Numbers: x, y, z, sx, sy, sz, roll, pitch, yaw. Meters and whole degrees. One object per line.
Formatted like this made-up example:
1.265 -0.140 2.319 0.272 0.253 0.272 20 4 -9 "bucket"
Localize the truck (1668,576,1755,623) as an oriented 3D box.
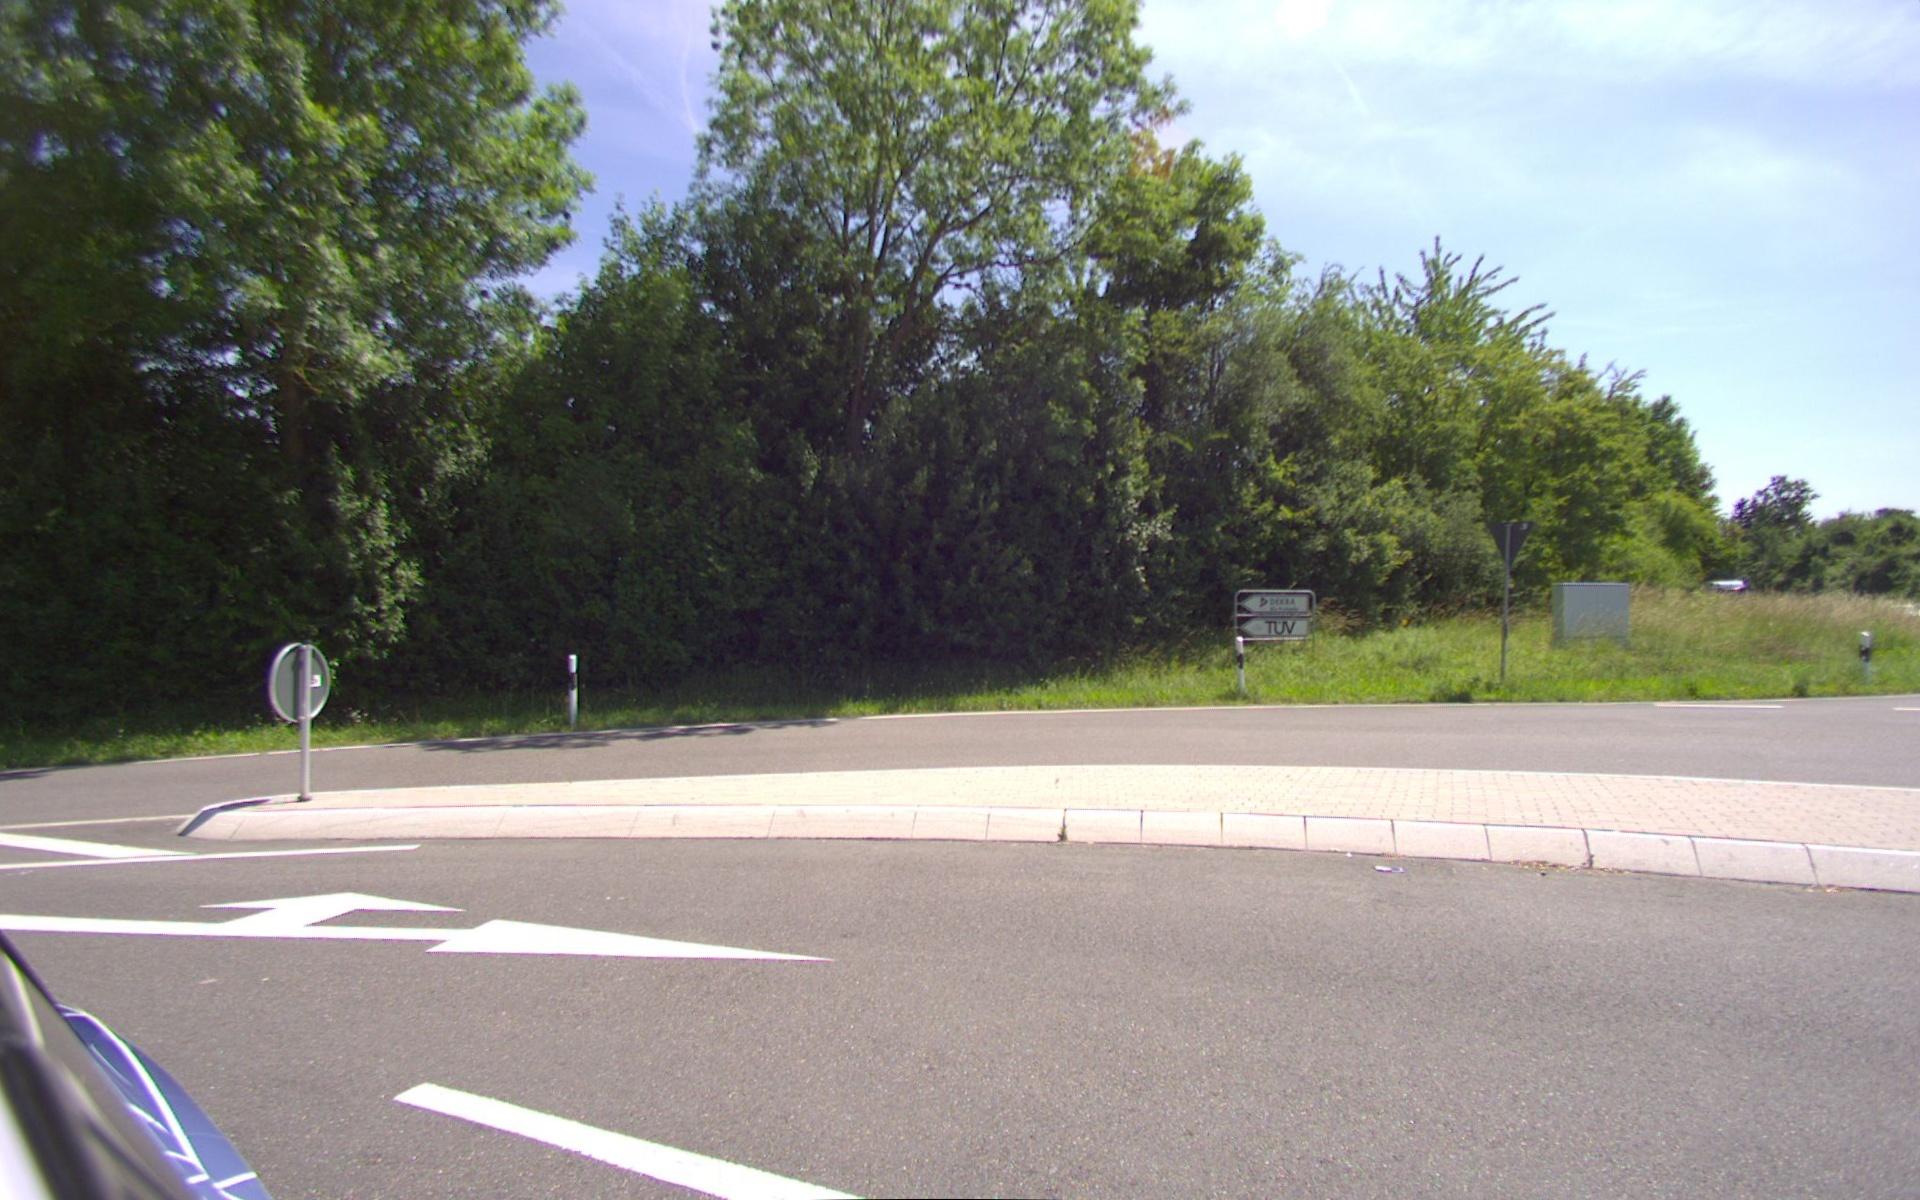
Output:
79.109 0.111 106.955 3.123 4.480 16.331 -3 -2 22 "truck"
